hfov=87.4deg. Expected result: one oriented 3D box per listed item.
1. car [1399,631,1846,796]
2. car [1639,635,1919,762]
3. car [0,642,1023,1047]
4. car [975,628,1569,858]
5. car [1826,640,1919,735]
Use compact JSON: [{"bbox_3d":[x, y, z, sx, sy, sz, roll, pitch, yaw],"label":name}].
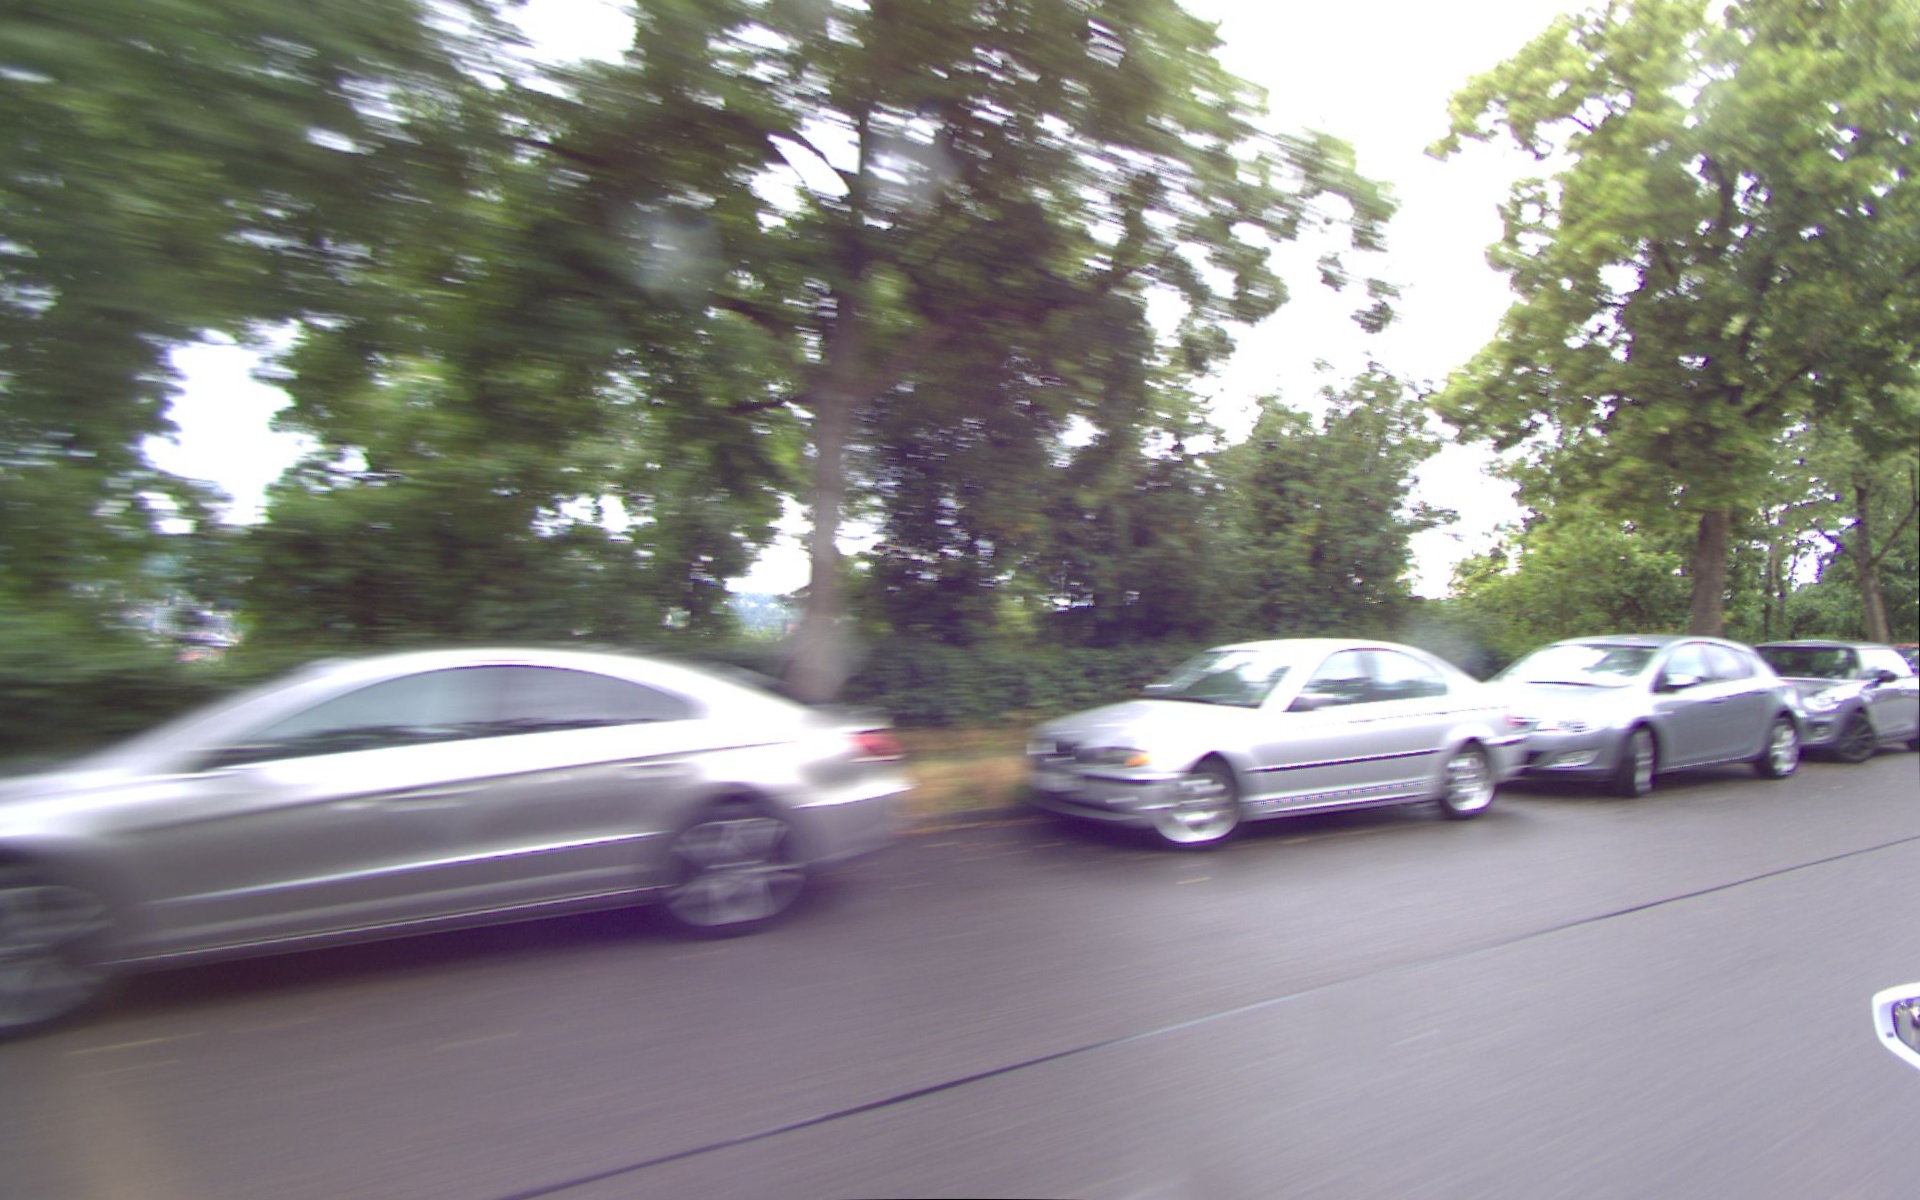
[{"bbox_3d":[7.084,1.096,10.676,4.655,1.423,1.986,2,-3,-28],"label":"car"},{"bbox_3d":[11.359,1.221,13.289,4.655,1.423,1.986,2,-3,-28],"label":"car"},{"bbox_3d":[-2.443,0.927,5.068,5.289,1.326,1.986,0,-3,-29],"label":"car"},{"bbox_3d":[2.641,0.981,8.351,4.653,1.423,1.987,0,-3,-27],"label":"car"},{"bbox_3d":[15.473,1.346,15.931,3.958,1.380,1.586,2,-2,-33],"label":"car"}]
